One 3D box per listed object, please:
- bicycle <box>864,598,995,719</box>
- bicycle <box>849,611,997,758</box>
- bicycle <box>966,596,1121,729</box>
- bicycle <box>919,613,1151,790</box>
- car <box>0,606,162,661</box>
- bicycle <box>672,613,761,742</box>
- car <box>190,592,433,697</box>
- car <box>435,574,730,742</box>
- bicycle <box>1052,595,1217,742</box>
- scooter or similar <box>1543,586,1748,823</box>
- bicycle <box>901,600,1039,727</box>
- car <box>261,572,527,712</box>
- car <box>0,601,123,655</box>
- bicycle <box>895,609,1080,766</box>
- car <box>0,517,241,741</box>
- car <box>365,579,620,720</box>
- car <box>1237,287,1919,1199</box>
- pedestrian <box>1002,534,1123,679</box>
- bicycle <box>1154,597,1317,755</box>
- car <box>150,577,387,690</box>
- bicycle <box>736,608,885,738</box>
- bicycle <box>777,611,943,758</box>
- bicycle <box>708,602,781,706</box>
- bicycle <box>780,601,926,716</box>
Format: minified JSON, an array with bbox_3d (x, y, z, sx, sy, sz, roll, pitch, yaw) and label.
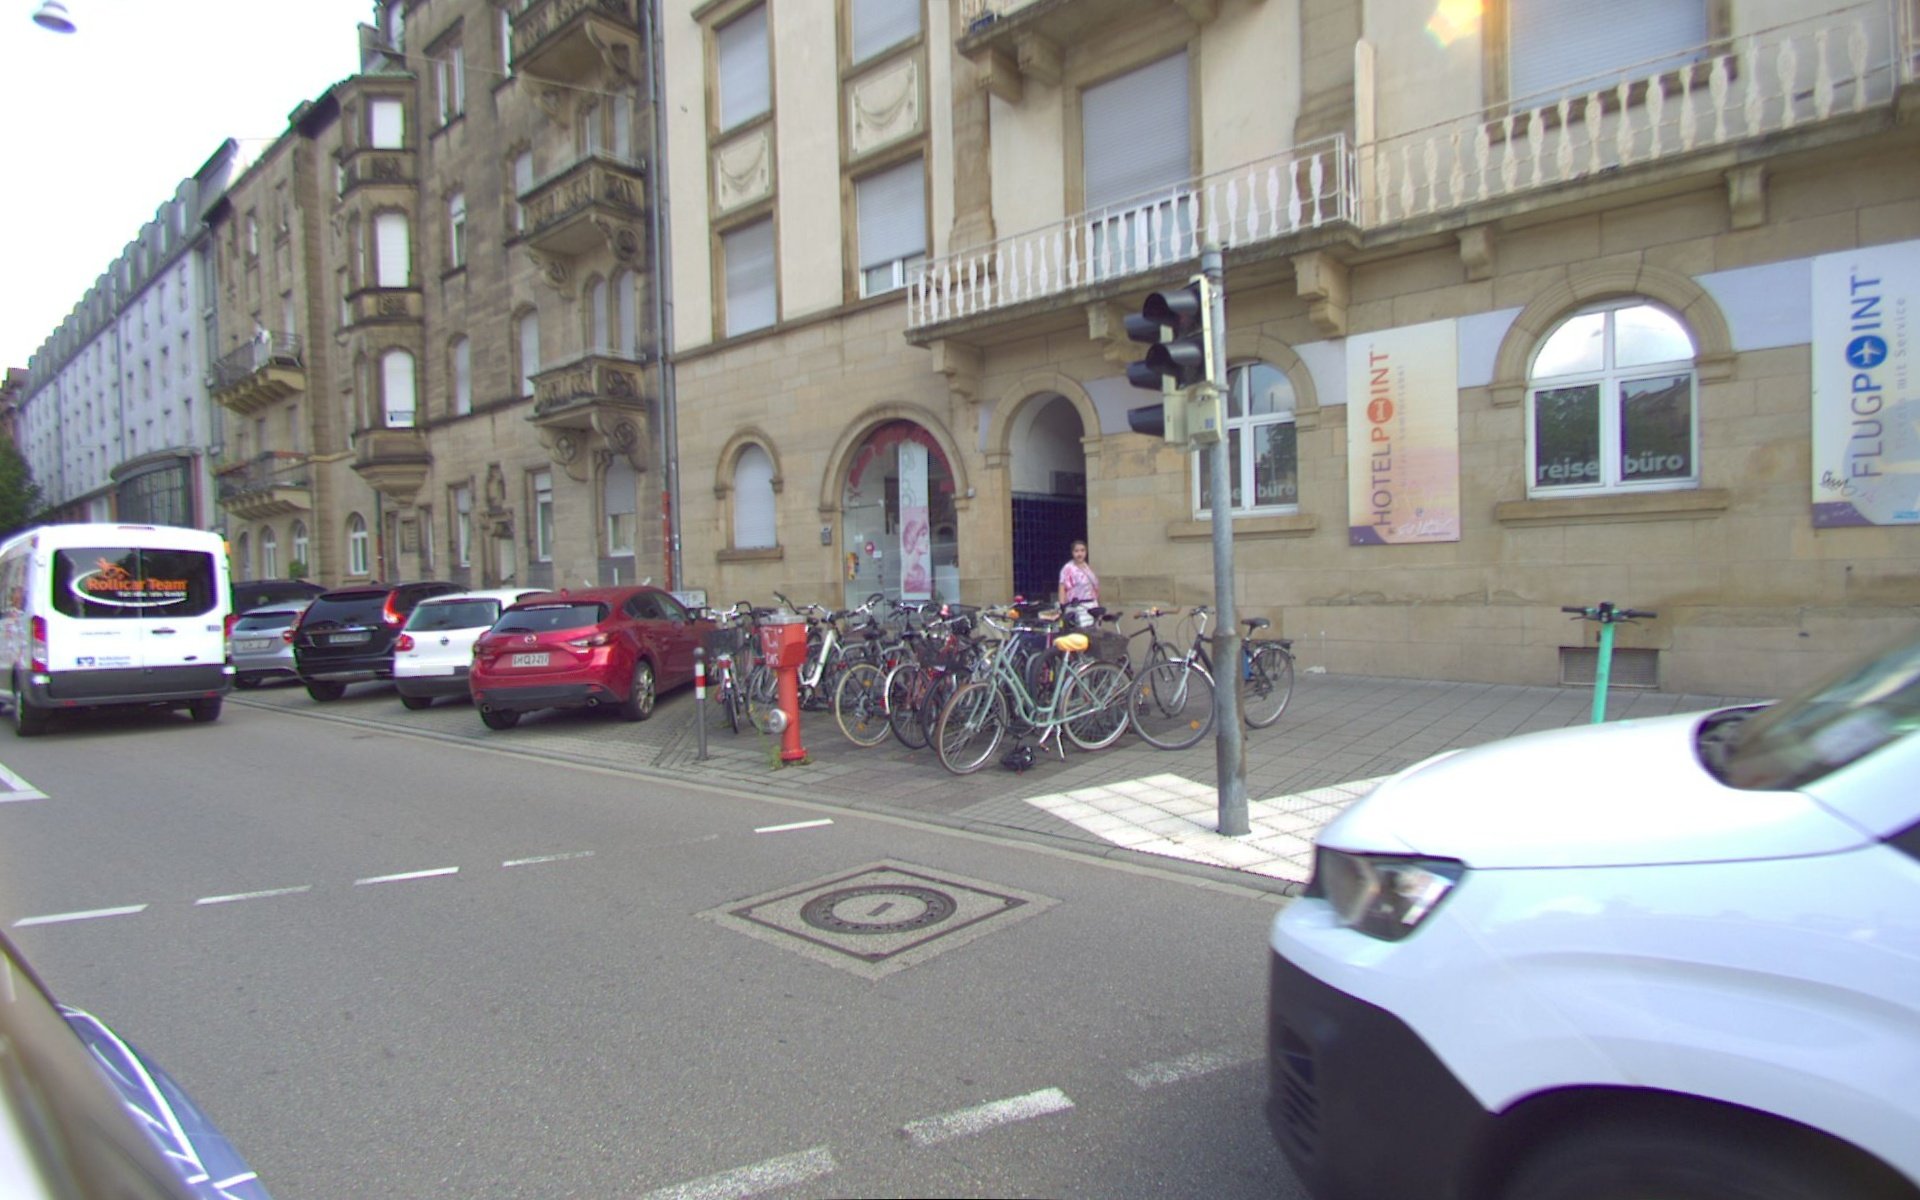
[{"bbox_3d":[-0.284,0.563,10.365,0.462,1.059,1.466,-2,3,38],"label":"bicycle"},{"bbox_3d":[-0.285,0.680,8.641,0.417,1.059,1.355,-2,3,39],"label":"bicycle"},{"bbox_3d":[0.822,0.553,9.628,1.558,1.059,0.481,-5,3,-42],"label":"bicycle"},{"bbox_3d":[0.589,0.696,7.542,1.708,1.059,0.532,-5,3,-33],"label":"bicycle"},{"bbox_3d":[-27.534,1.012,31.807,1.708,1.485,3.953,-2,1,1],"label":"car"},{"bbox_3d":[-2.401,0.723,10.157,0.549,1.059,1.815,-3,2,-5],"label":"bicycle"},{"bbox_3d":[-11.725,0.730,18.658,1.709,1.439,3.952,-4,3,3],"label":"car"},{"bbox_3d":[-4.231,0.541,12.113,1.788,1.467,3.997,-4,3,3],"label":"car"},{"bbox_3d":[1.543,0.546,8.771,1.589,1.059,0.481,-5,3,-42],"label":"bicycle"},{"bbox_3d":[3.923,0.536,5.771,1.232,1.154,0.482,-5,3,-31],"label":"scooter or similar"},{"bbox_3d":[0.126,0.582,9.931,0.462,1.059,1.464,-1,3,42],"label":"bicycle"},{"bbox_3d":[-8.643,0.529,15.919,1.778,1.701,3.954,-4,3,2],"label":"car"},{"bbox_3d":[-32.616,0.986,36.331,1.708,1.597,3.953,-4,2,1],"label":"car"},{"bbox_3d":[0.256,0.661,8.286,1.558,1.059,0.481,-5,3,-42],"label":"bicycle"},{"bbox_3d":[-11.978,0.405,13.854,5.940,2.463,2.055,-2,-1,40],"label":"car"},{"bbox_3d":[-6.399,0.569,14.400,1.707,1.467,3.956,-5,3,0],"label":"car"},{"bbox_3d":[2.745,0.446,1.186,4.279,1.789,1.794,-2,0,39],"label":"car"},{"bbox_3d":[1.236,0.065,12.154,0.996,1.606,0.932,-1,5,42],"label":"pedestrian"},{"bbox_3d":[2.210,0.559,8.031,1.421,1.059,0.481,-5,3,-40],"label":"bicycle"},{"bbox_3d":[-13.869,0.583,20.613,1.711,1.881,3.947,-3,3,7],"label":"car"},{"bbox_3d":[-1.414,0.670,9.825,0.462,1.059,1.466,-2,3,38],"label":"bicycle"},{"bbox_3d":[-0.835,0.688,8.775,0.462,1.059,1.464,-1,3,41],"label":"bicycle"},{"bbox_3d":[-2.596,0.608,12.359,0.549,1.059,1.907,-3,2,-4],"label":"bicycle"},{"bbox_3d":[-1.143,0.603,11.139,0.557,1.059,1.611,-1,3,40],"label":"bicycle"}]
